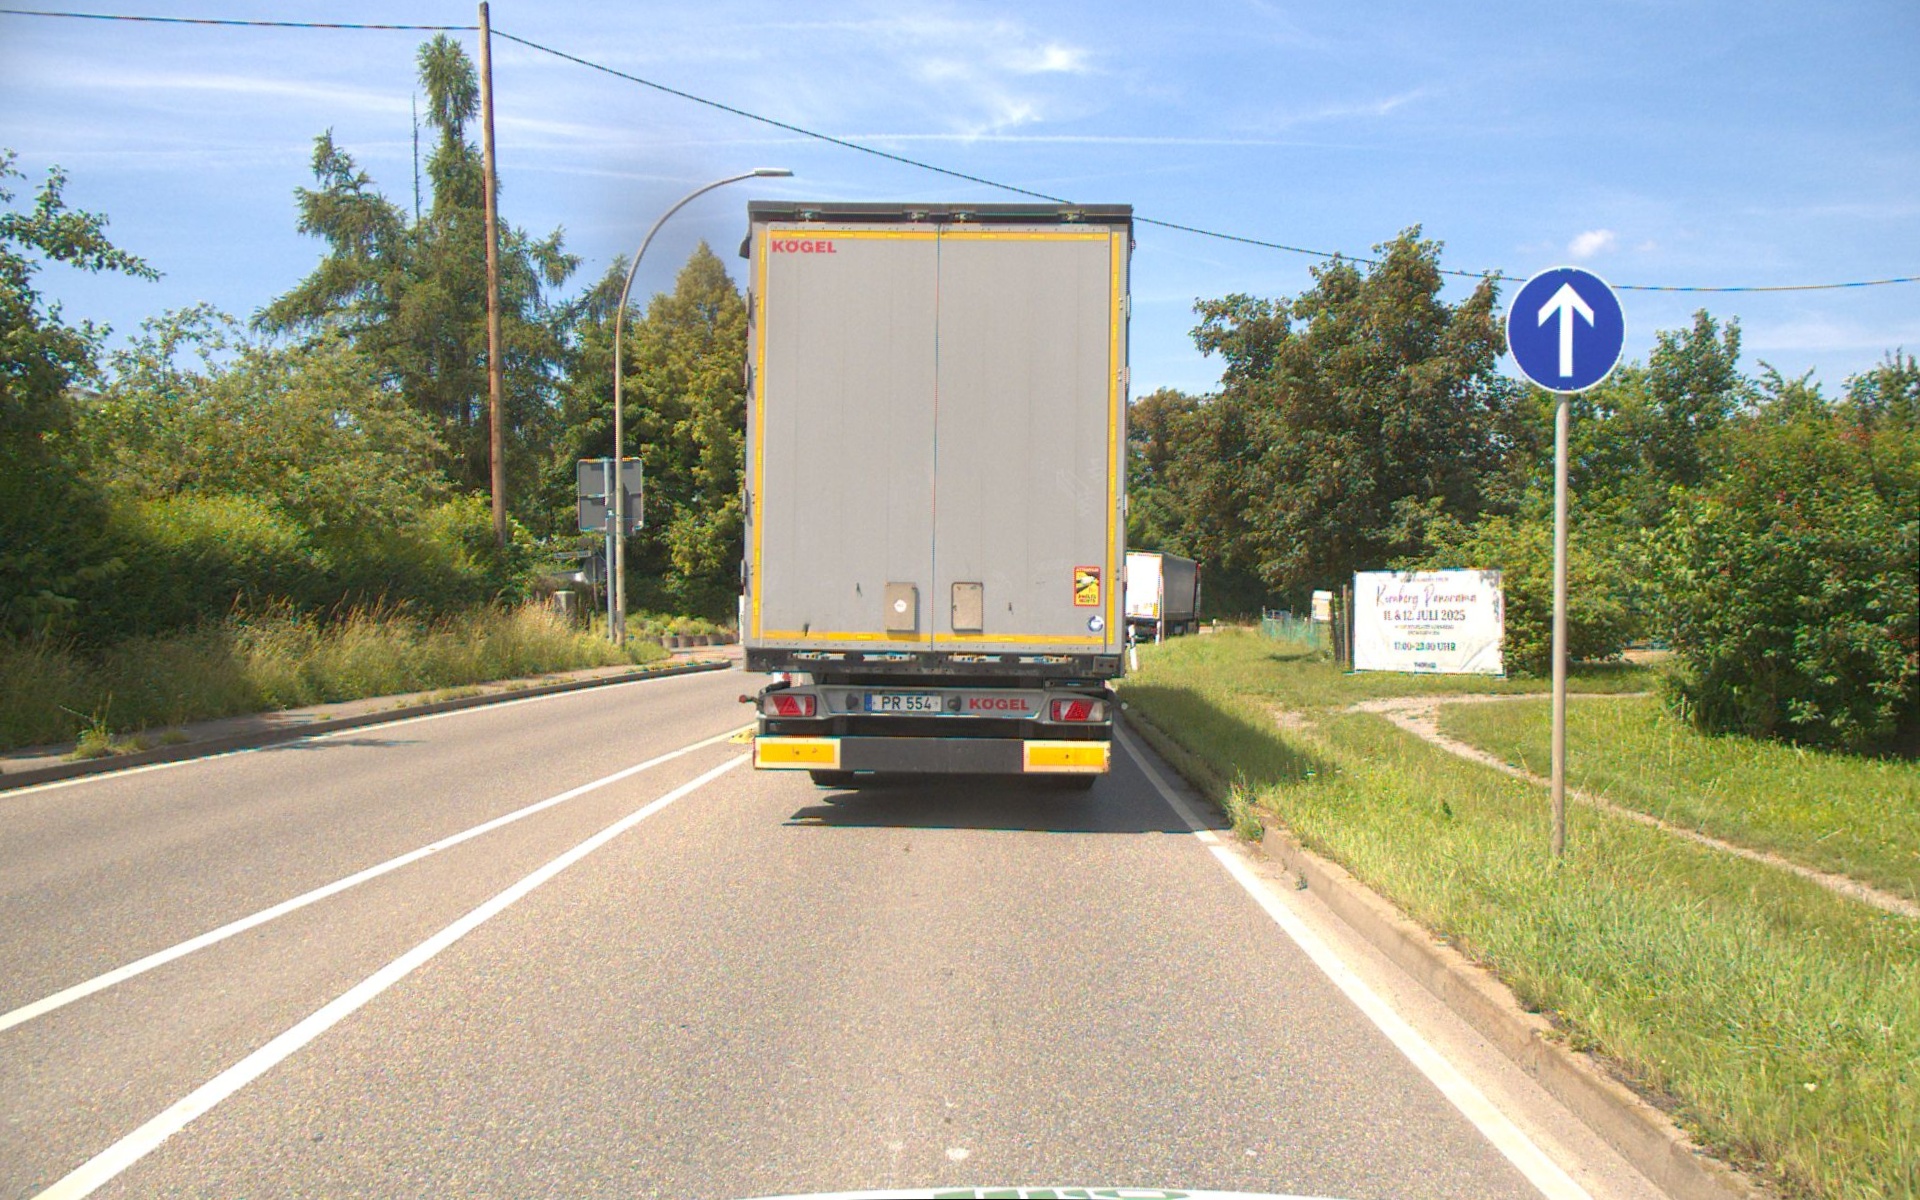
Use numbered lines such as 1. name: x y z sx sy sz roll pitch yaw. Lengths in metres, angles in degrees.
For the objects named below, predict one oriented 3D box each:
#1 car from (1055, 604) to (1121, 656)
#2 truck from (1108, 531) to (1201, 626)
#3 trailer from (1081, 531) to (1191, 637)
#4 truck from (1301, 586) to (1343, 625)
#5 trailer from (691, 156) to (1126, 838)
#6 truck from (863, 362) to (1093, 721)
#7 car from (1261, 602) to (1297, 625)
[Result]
1. car: 4.166 0.942 53.382 1.951 1.557 4.003 0 1 7
2. truck: 10.096 -1.045 85.106 3.853 4.655 7.157 0 0 14
3. trailer: 8.529 -0.683 78.377 3.808 4.600 12.724 0 0 12
4. truck: 27.673 0.360 126.438 2.370 2.888 5.413 0 0 21
5. trailer: 0.029 -0.717 16.500 2.728 4.278 12.117 0 1 3
6. truck: 0.396 -0.729 22.645 2.688 4.238 6.146 0 1 3
7. car: 22.138 0.953 114.675 1.803 1.512 4.001 0 1 20
